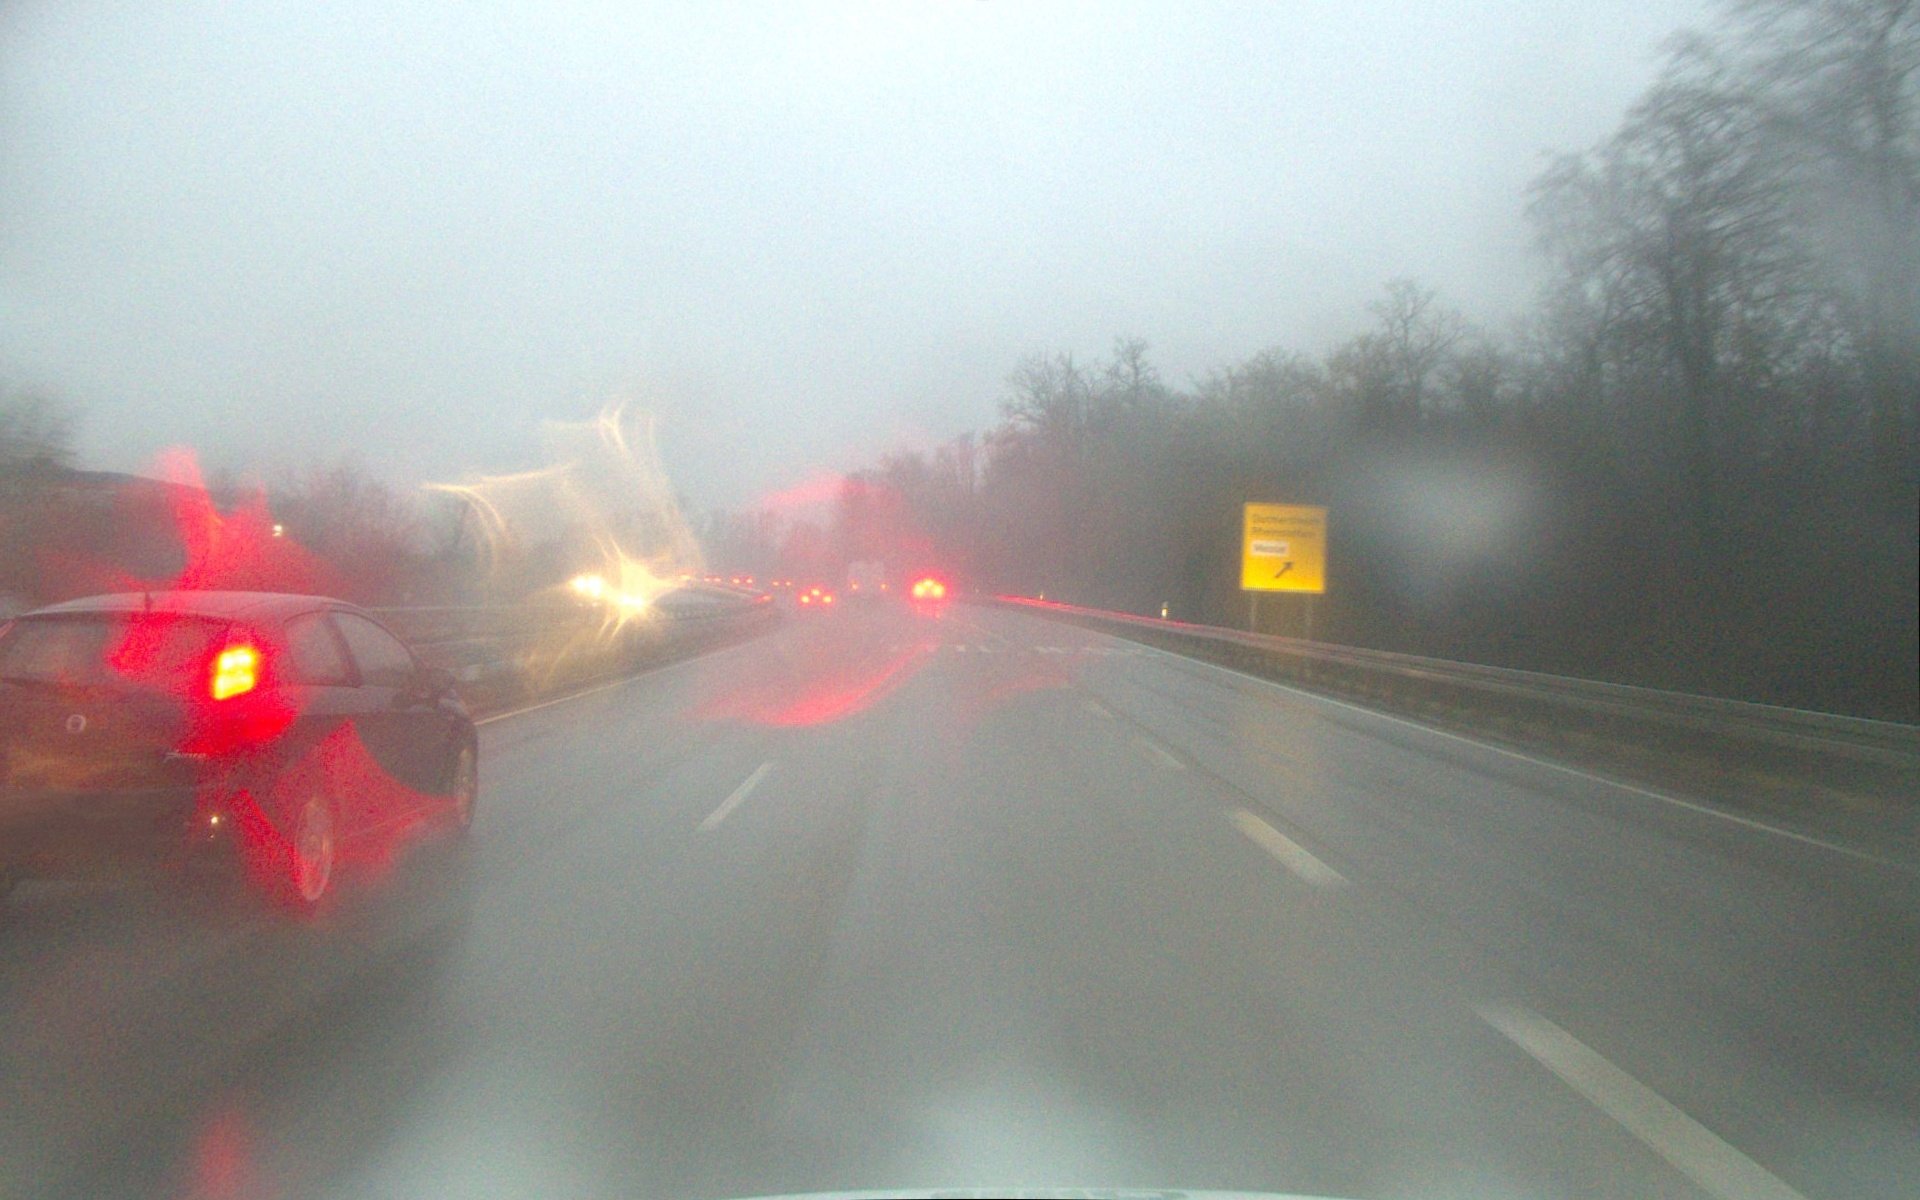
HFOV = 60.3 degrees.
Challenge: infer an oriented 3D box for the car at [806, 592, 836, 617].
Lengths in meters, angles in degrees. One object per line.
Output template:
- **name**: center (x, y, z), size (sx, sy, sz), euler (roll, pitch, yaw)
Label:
- **car**: center (-7.749, 0.243, 92.145), size (1.387, 1.340, 3.082), euler (2, 0, 0)

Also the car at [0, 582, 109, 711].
- **car**: center (-13.168, 0.588, 21.838), size (1.728, 1.655, 4.523), euler (1, 0, -3)

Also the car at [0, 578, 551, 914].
- **car**: center (-3.566, 0.660, 9.262), size (1.593, 1.416, 3.999), euler (2, -1, -1)
